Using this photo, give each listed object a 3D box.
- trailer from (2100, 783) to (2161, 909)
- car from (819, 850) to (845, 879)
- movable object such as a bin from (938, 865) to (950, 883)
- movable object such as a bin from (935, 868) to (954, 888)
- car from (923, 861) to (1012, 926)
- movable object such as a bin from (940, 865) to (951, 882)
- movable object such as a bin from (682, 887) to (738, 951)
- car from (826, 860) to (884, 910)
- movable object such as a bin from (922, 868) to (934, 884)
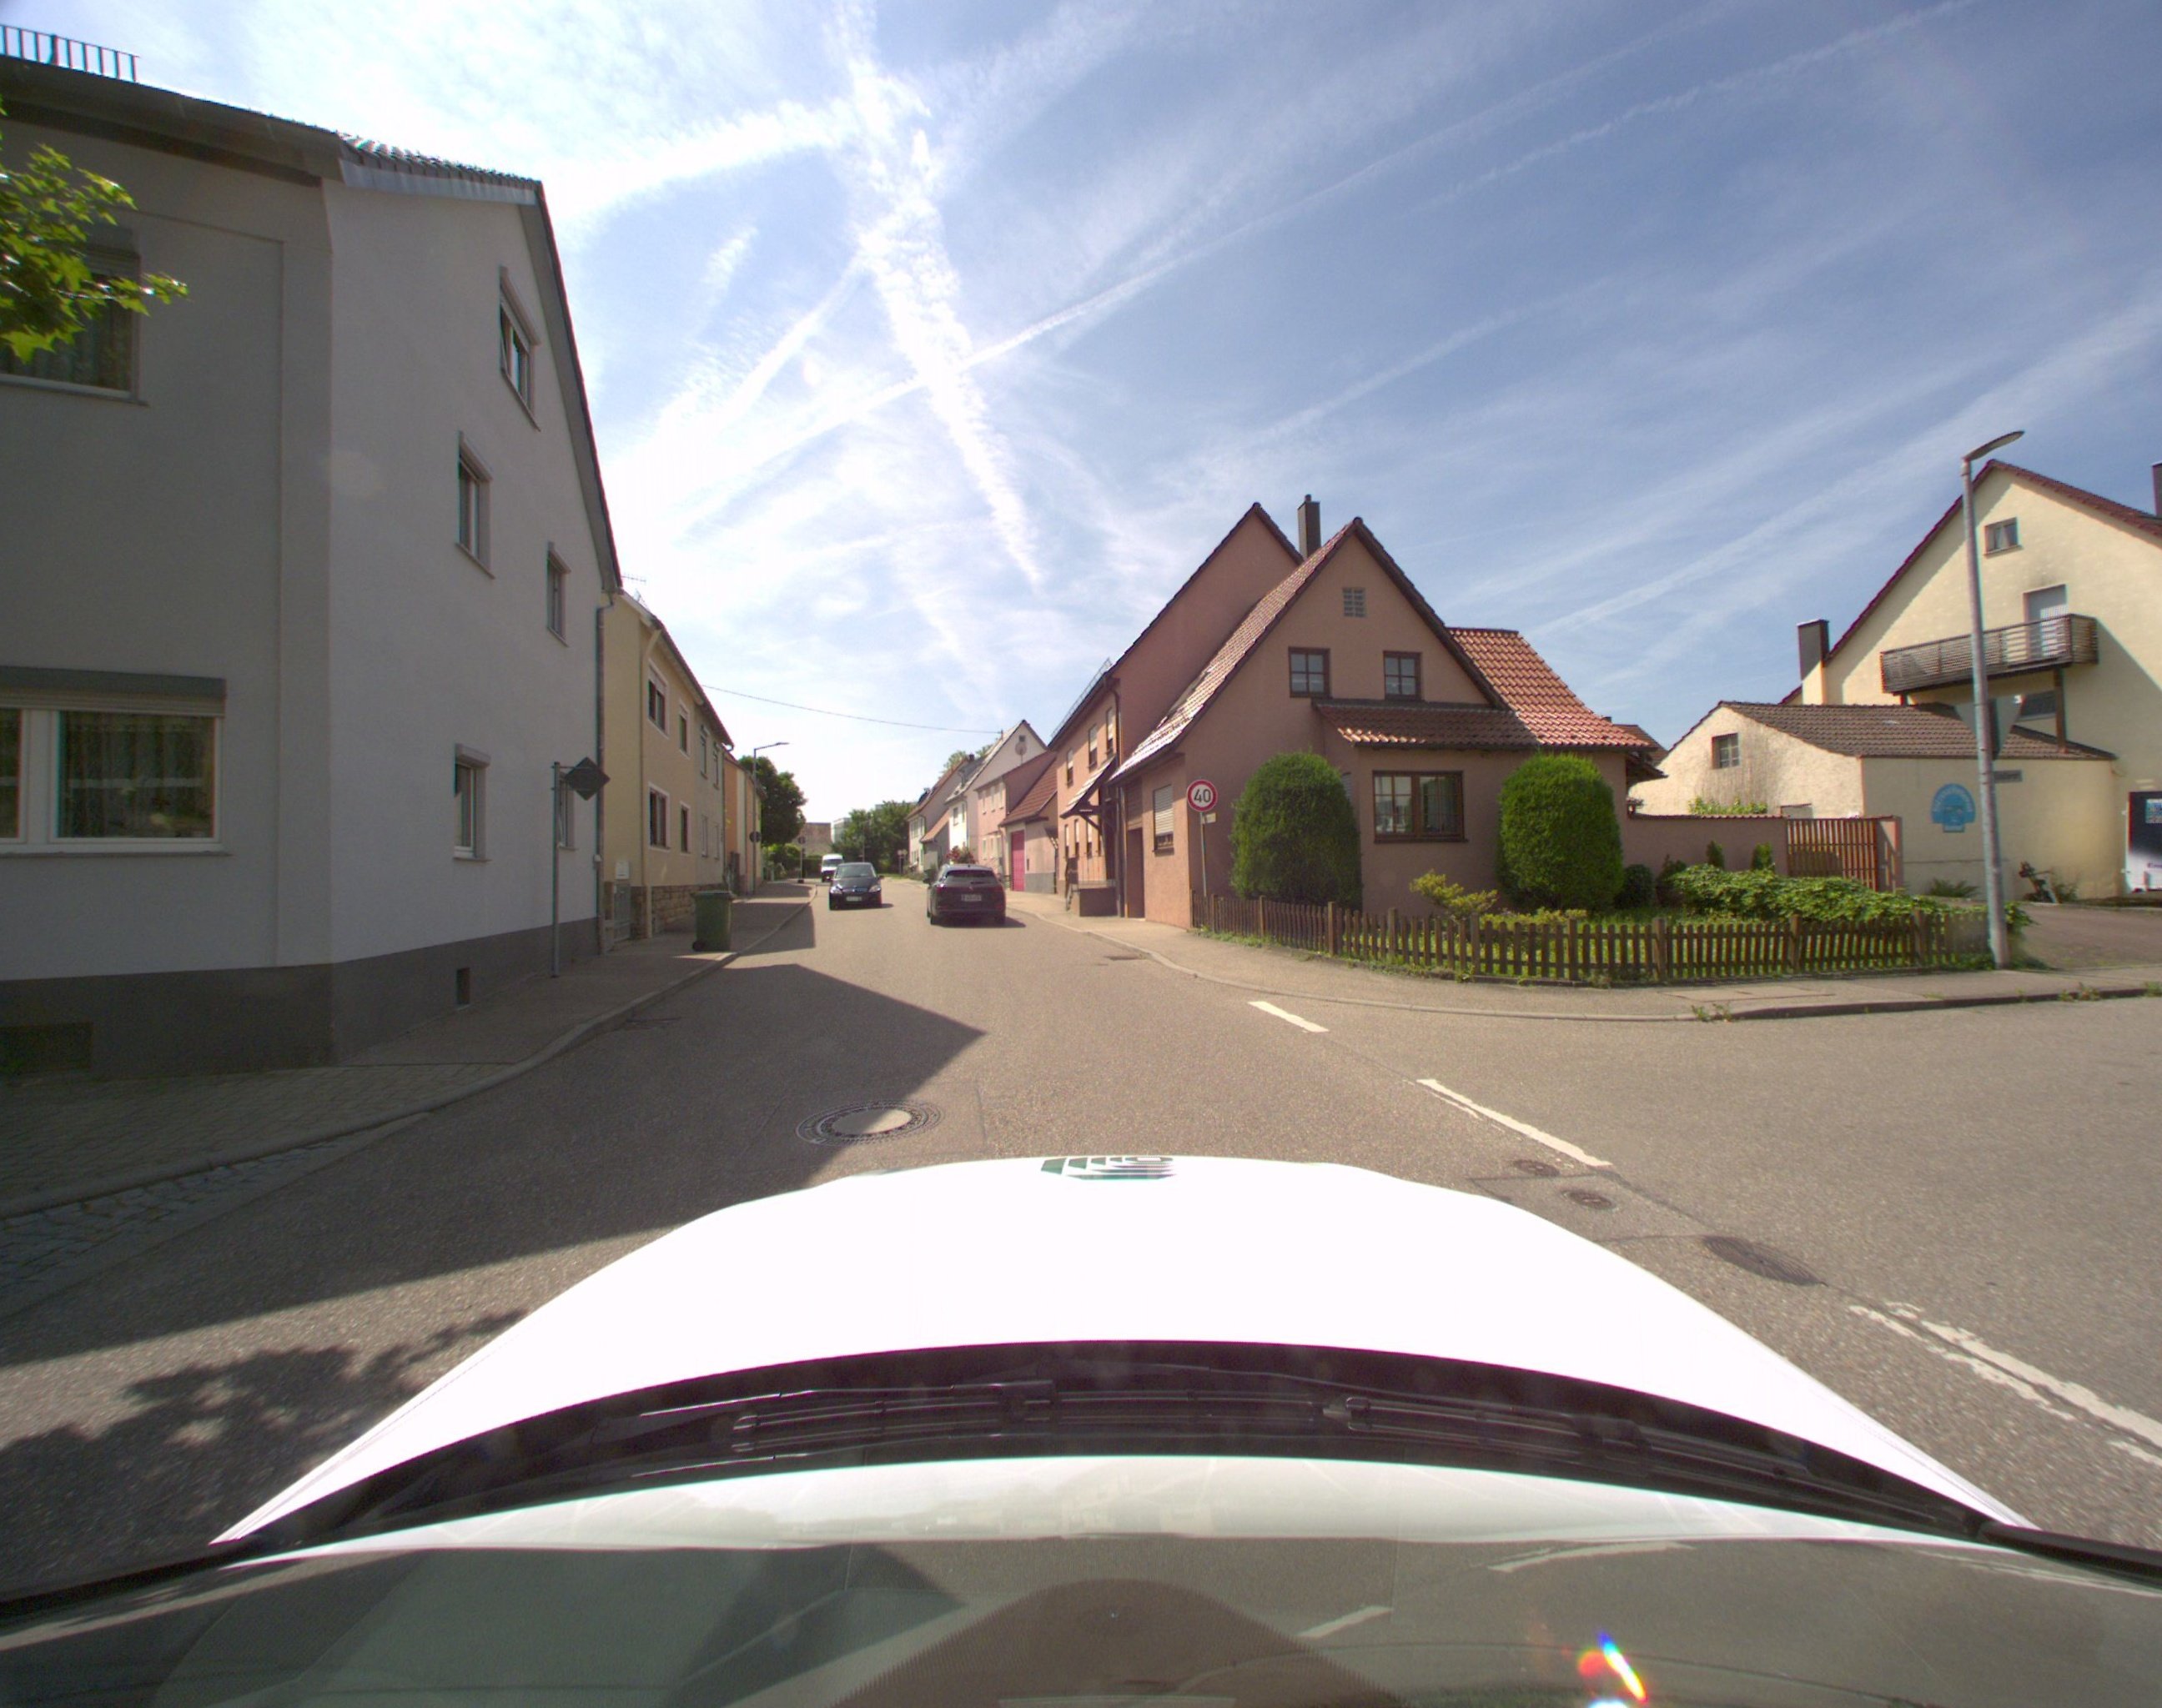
[{"bbox_3d":[25.619,-0.215,17.182,2.001,2.813,4.732,-1,-1,-21],"label":"trailer"},{"bbox_3d":[-22.816,0.935,74.510,2.120,2.563,5.792,-1,0,-17],"label":"car"},{"bbox_3d":[-9.512,1.401,56.525,0.667,1.194,0.656,0,-1,-19],"label":"movable object such as a bin"},{"bbox_3d":[-8.001,1.410,47.715,0.879,1.074,0.866,-5,1,-23],"label":"movable object such as a bin"},{"bbox_3d":[-2.996,0.907,20.710,1.843,1.420,4.661,0,0,-13],"label":"car"},{"bbox_3d":[-9.298,1.346,55.915,0.667,1.194,0.584,0,-1,-19],"label":"movable object such as a bin"},{"bbox_3d":[-6.584,1.137,14.481,0.754,1.060,0.677,0,0,-12],"label":"movable object such as a bin"},{"bbox_3d":[-7.935,1.033,28.921,1.802,1.555,4.051,-2,0,-14],"label":"car"},{"bbox_3d":[-10.605,1.526,56.581,0.681,1.155,0.814,0,-1,-23],"label":"movable object such as a bin"}]
